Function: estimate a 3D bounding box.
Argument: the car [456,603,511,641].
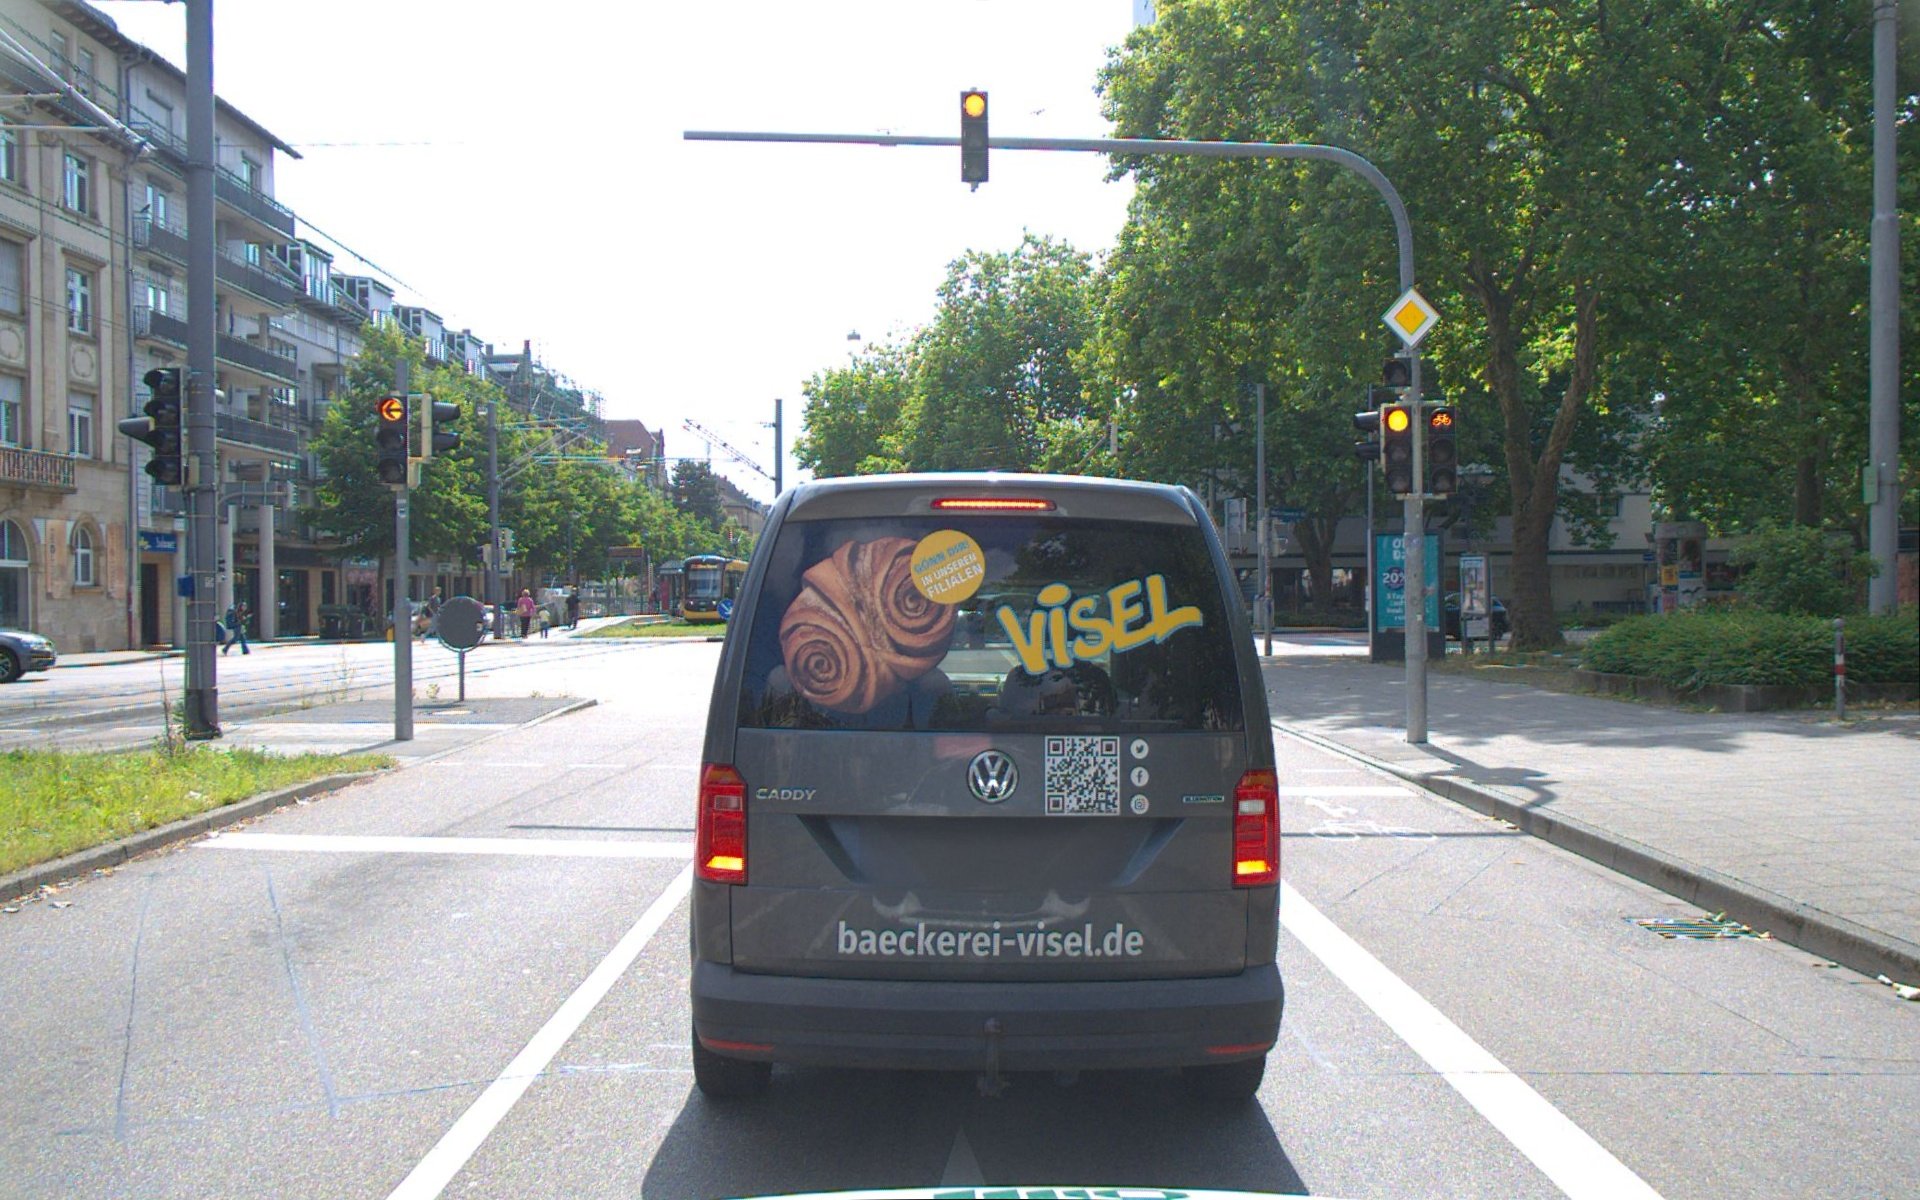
[{"bbox_3d":[-27.179,1.213,94.432,1.953,2.049,3.999,-1,0,-1],"label":"car"}]

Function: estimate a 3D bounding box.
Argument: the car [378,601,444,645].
[{"bbox_3d":[-26.881,1.108,81.108,1.953,2.049,3.999,-1,0,-1],"label":"car"}]

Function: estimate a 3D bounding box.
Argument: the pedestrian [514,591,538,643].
[{"bbox_3d":[-15.470,0.595,58.918,0.646,1.815,0.660,-1,0,-1],"label":"pedestrian"}]

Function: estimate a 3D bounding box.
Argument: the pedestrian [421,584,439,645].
[{"bbox_3d":[-17.857,0.477,55.695,0.468,2.049,0.419,-1,0,-6],"label":"pedestrian"}]

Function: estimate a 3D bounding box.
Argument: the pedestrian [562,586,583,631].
[{"bbox_3d":[-15.164,0.326,64.704,0.646,1.714,0.655,-1,0,-1],"label":"pedestrian"}]

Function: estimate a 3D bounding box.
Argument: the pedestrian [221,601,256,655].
[{"bbox_3d":[-22.197,0.856,50.866,0.852,1.623,0.685,-1,0,-36],"label":"pedestrian"}]

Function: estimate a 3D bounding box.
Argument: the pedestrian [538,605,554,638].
[{"bbox_3d":[-14.726,0.765,58.840,0.454,1.164,0.435,-1,0,-1],"label":"pedestrian"}]

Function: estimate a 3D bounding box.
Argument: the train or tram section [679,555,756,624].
[{"bbox_3d":[-12.736,-0.564,87.836,2.195,3.389,12.970,-1,0,0],"label":"train or tram section"}]

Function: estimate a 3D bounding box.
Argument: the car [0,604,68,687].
[{"bbox_3d":[-18.624,0.846,29.648,4.497,1.461,1.693,-1,0,-25],"label":"car"}]

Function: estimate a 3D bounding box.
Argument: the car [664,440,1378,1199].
[{"bbox_3d":[0.137,0.531,5.744,1.715,1.840,3.474,1,0,-1],"label":"car"}]

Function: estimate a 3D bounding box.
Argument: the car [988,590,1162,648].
[{"bbox_3d":[3.099,0.486,44.474,4.423,1.414,1.693,-1,0,-25],"label":"car"}]

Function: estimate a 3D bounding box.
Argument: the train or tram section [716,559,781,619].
[{"bbox_3d":[-12.834,-0.662,101.315,2.195,3.389,14.012,-1,0,0],"label":"train or tram section"}]

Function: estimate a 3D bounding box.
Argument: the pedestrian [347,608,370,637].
[{"bbox_3d":[-26.034,0.977,71.570,0.738,1.233,0.704,-1,0,-1],"label":"pedestrian"}]
